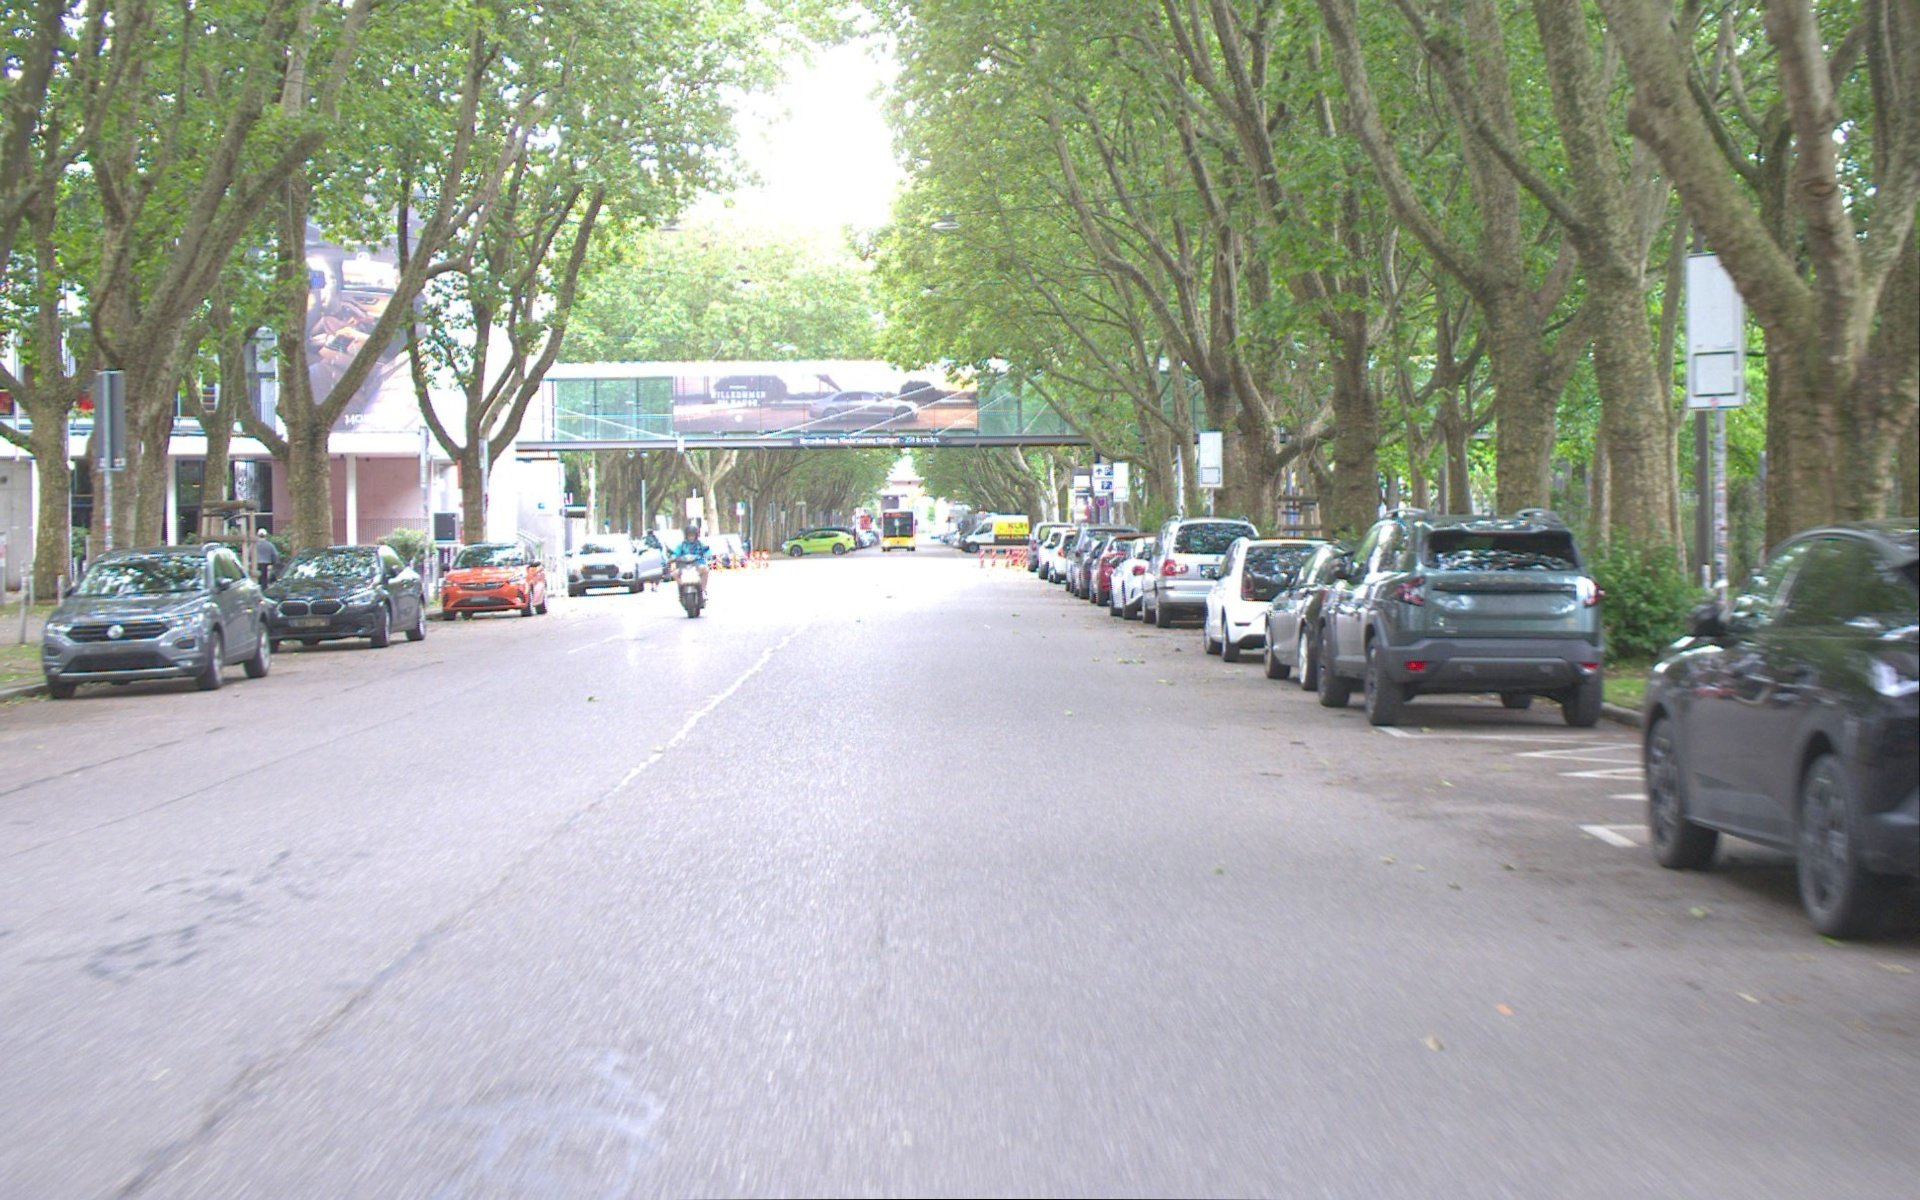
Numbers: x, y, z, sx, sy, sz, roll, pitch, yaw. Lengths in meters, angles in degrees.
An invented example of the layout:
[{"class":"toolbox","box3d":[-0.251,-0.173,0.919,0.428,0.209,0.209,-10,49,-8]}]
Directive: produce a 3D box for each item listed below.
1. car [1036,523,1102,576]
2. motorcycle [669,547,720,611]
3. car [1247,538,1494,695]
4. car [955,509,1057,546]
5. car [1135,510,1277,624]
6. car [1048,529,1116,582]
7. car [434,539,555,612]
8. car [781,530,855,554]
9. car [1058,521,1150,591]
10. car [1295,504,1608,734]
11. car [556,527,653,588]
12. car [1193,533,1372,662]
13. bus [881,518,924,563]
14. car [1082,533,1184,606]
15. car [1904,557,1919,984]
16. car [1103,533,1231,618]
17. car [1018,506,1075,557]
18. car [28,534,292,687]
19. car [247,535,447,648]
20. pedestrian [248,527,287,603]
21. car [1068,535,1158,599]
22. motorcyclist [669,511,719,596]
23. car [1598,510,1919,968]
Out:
[{"class":"car","box3d":[3.385,-1.568,107.570,1.914,1.612,4.749,0,1,0]},{"class":"motorcycle","box3d":[-4.691,-0.388,60.818,0.873,1.075,3.053,0,1,-4]},{"class":"car","box3d":[3.982,0.117,34.003,1.707,1.410,4.362,0,1,-3]},{"class":"car","box3d":[3.130,-4.938,234.367,6.822,2.505,2.317,0,1,-2]},{"class":"car","box3d":[3.863,-0.543,54.671,1.903,1.733,4.507,0,1,-1]},{"class":"car","box3d":[3.507,-1.295,99.742,1.807,1.521,4.096,0,1,0]},{"class":"car","box3d":[-8.995,-0.502,66.657,1.808,1.349,4.000,0,1,0]},{"class":"car","box3d":[-9.254,-3.776,224.360,4.700,1.579,1.864,0,1,1]},{"class":"car","box3d":[3.538,-1.096,85.157,1.981,1.674,4.732,0,1,-1]},{"class":"car","box3d":[3.932,0.094,28.229,1.707,1.692,4.631,1,1,-2]},{"class":"car","box3d":[-9.389,-1.138,91.037,2.073,1.557,4.756,0,1,0]},{"class":"car","box3d":[3.793,-0.066,40.953,1.707,1.422,3.889,1,1,0]},{"class":"bus","box3d":[-4.321,-4.426,258.108,3.038,3.149,12.678,-2,1,-1]},{"class":"car","box3d":[3.567,-0.662,71.589,1.856,1.476,4.178,0,1,-1]},{"class":"car","box3d":[4.050,0.636,9.906,1.616,1.436,3.710,2,1,0]},{"class":"car","box3d":[3.595,-0.463,60.334,1.877,1.422,4.586,0,1,-1]},{"class":"car","box3d":[3.101,-2.457,124.302,1.847,1.777,5.211,1,1,0]},{"class":"car","box3d":[-8.611,0.070,37.350,1.878,1.521,4.151,-1,1,0]},{"class":"car","box3d":[-8.596,-0.158,48.596,1.827,1.460,4.627,-2,1,2]},{"class":"pedestrian","box3d":[-14.768,-0.752,73.331,0.592,1.614,0.791,0,1,9]},{"class":"car","box3d":[3.455,-0.774,78.262,1.877,1.422,4.480,0,1,0]},{"class":"motorcyclist","box3d":[-4.705,-0.827,60.816,0.870,1.475,1.265,0,1,-4]},{"class":"car","box3d":[4.127,0.460,14.842,1.777,1.667,4.638,0,1,-1]}]
